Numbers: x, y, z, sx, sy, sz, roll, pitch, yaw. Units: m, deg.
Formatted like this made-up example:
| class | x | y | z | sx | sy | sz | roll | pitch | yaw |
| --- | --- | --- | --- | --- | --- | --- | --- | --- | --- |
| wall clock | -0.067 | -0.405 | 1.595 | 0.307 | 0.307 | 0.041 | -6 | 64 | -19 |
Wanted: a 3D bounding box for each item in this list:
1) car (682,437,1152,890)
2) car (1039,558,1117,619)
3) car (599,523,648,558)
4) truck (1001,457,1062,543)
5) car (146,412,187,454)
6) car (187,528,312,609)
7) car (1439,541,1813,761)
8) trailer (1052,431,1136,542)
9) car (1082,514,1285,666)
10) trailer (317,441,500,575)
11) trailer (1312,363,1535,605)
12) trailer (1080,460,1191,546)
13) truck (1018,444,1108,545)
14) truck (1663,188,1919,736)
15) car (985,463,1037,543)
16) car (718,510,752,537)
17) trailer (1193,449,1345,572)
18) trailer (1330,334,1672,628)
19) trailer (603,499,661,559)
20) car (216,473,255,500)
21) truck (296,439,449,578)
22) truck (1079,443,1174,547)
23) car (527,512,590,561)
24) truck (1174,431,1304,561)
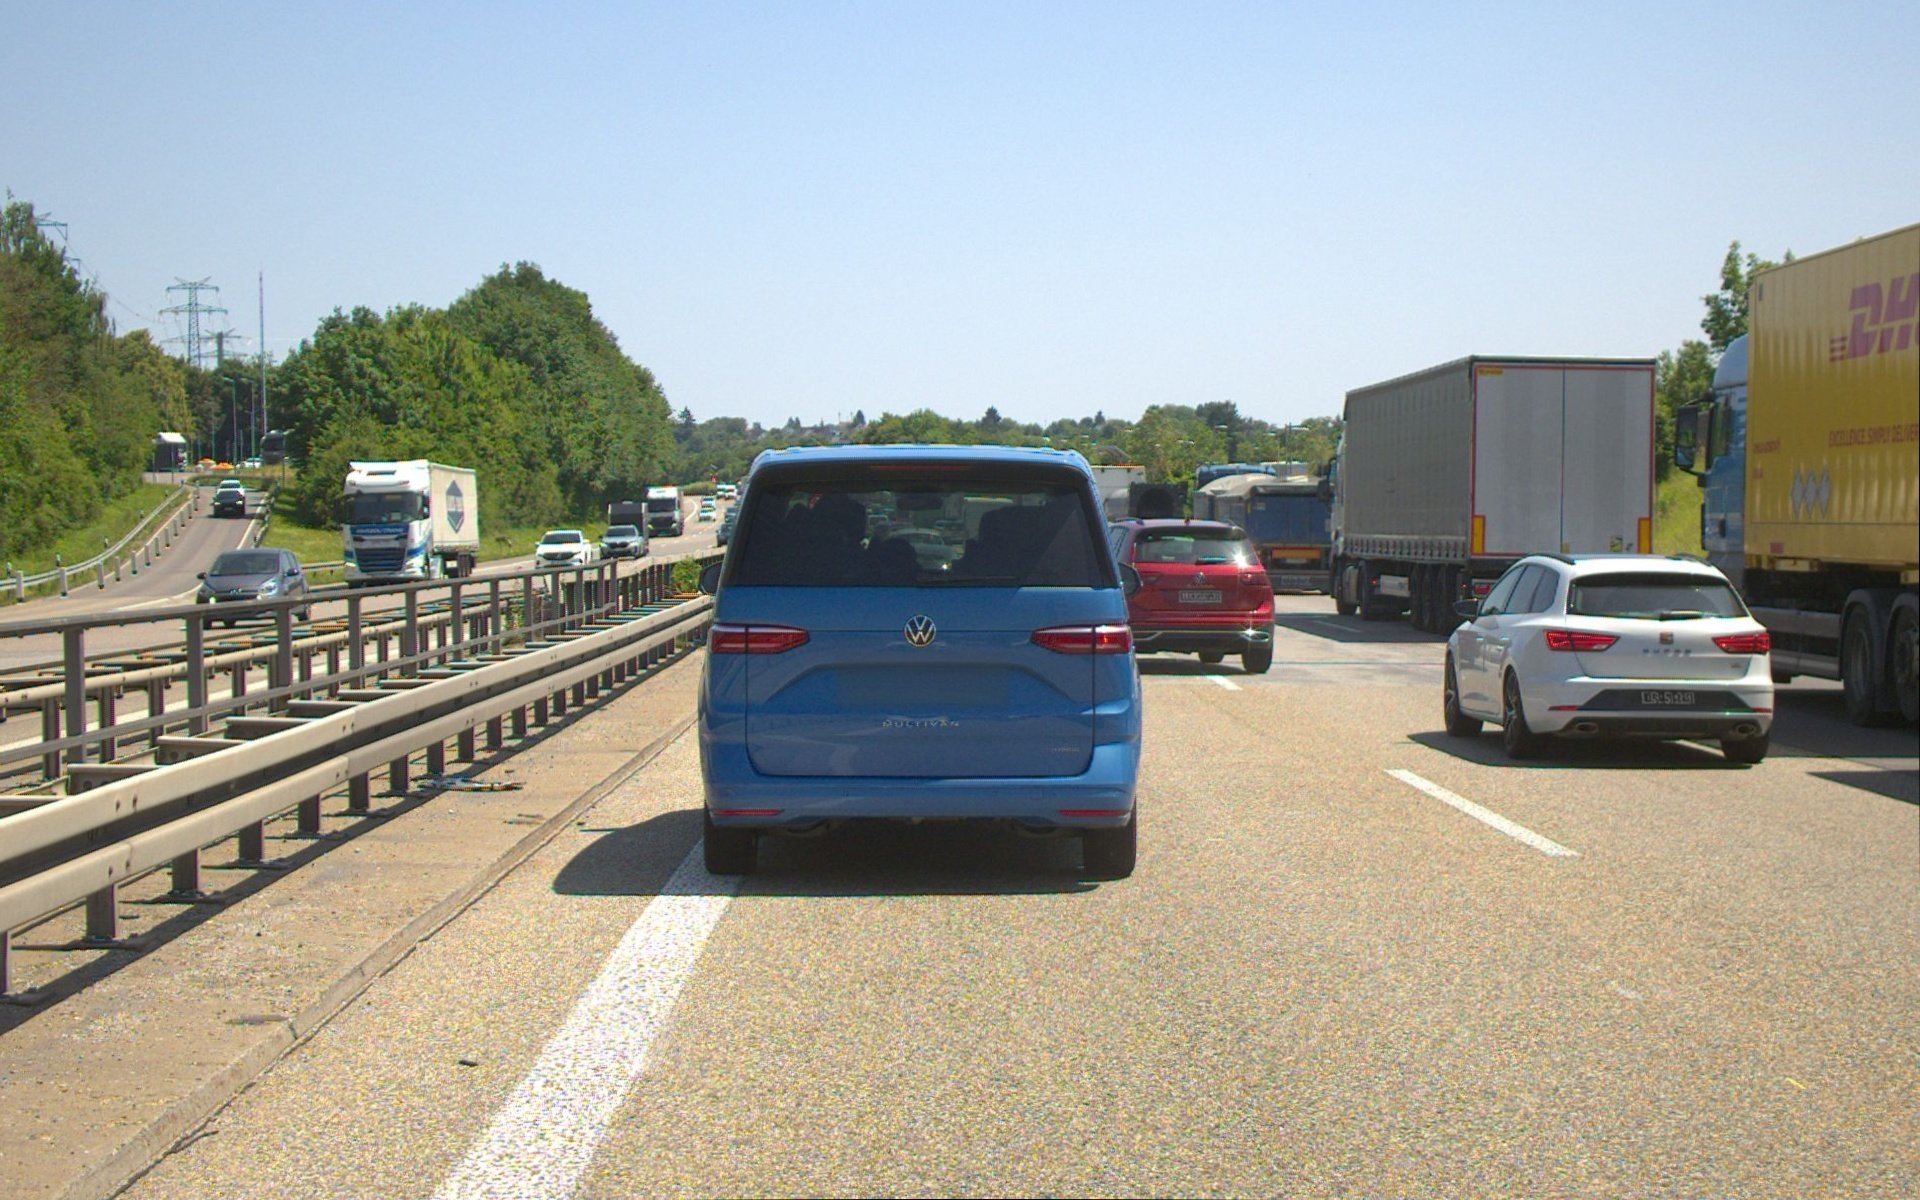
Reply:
| class | x | y | z | sx | sy | sz | roll | pitch | yaw |
| --- | --- | --- | --- | --- | --- | --- | --- | --- | --- |
| car | -0.174 | 0.225 | 16.106 | 1.901 | 1.831 | 4.000 | 1 | 1 | 0 |
| car | 3.054 | -0.326 | 89.483 | 1.781 | 1.519 | 4.000 | 0 | 1 | -1 |
| car | -15.869 | -2.814 | 162.177 | 1.871 | 1.619 | 4.629 | 1 | 1 | 0 |
| truck | 4.165 | -5.837 | 202.869 | 3.068 | 4.903 | 10.691 | 1 | 1 | -1 |
| car | -58.296 | -12.247 | 252.553 | 2.068 | 2.870 | 6.735 | -1 | 1 | -20 |
| car | -13.614 | -0.620 | 66.047 | 1.652 | 1.457 | 3.542 | -2 | 1 | 0 |
| car | 4.632 | 0.300 | 24.471 | 1.867 | 1.356 | 4.000 | 1 | 2 | 0 |
| trailer | 6.363 | -5.379 | 165.752 | 3.646 | 5.118 | 13.076 | 1 | 1 | 1 |
| car | 2.391 | -0.139 | 37.716 | 1.870 | 1.546 | 4.000 | 1 | 1 | -1 |
| trailer | -18.690 | -3.096 | 117.683 | 3.989 | 4.221 | 14.041 | -2 | 1 | 0 |
| trailer | 8.058 | -2.043 | 60.488 | 2.924 | 4.030 | 6.411 | 0 | 2 | -1 |
| trailer | 6.611 | -3.646 | 132.119 | 3.646 | 3.068 | 15.772 | 1 | 1 | 1 |
| truck | 5.460 | -5.629 | 186.060 | 3.621 | 5.194 | 15.691 | 1 | 1 | -3 |
| truck | 8.501 | -1.087 | 29.403 | 2.765 | 4.095 | 9.953 | 1 | 1 | -1 |
| car | 3.402 | -6.468 | 230.832 | 3.218 | 5.239 | 8.145 | 1 | 1 | -1 |
| car | -13.366 | -4.562 | 204.555 | 1.792 | 1.567 | 4.000 | 1 | 1 | 0 |
| trailer | 7.543 | -2.299 | 85.045 | 2.743 | 2.826 | 9.117 | 1 | 2 | -1 |
| trailer | 8.177 | -1.841 | 54.148 | 2.962 | 4.035 | 13.754 | 0 | 2 | -1 |
| trailer | -15.919 | -3.443 | 167.107 | 2.166 | 2.768 | 5.377 | -4 | 1 | 0 |
| car | -44.313 | -6.930 | 210.417 | 1.993 | 1.570 | 5.276 | 1 | 1 | -8 |
| truck | -18.662 | -2.901 | 109.505 | 4.005 | 4.214 | 4.859 | -2 | 1 | -1 |
| truck | 6.770 | -4.250 | 140.709 | 3.626 | 4.080 | 7.524 | 1 | 1 | 1 |
| car | -14.603 | -2.323 | 125.170 | 1.749 | 1.690 | 4.385 | -2 | 1 | 0 |
| truck | 7.422 | -2.842 | 92.263 | 2.743 | 3.300 | 7.134 | 1 | 2 | -1 |
